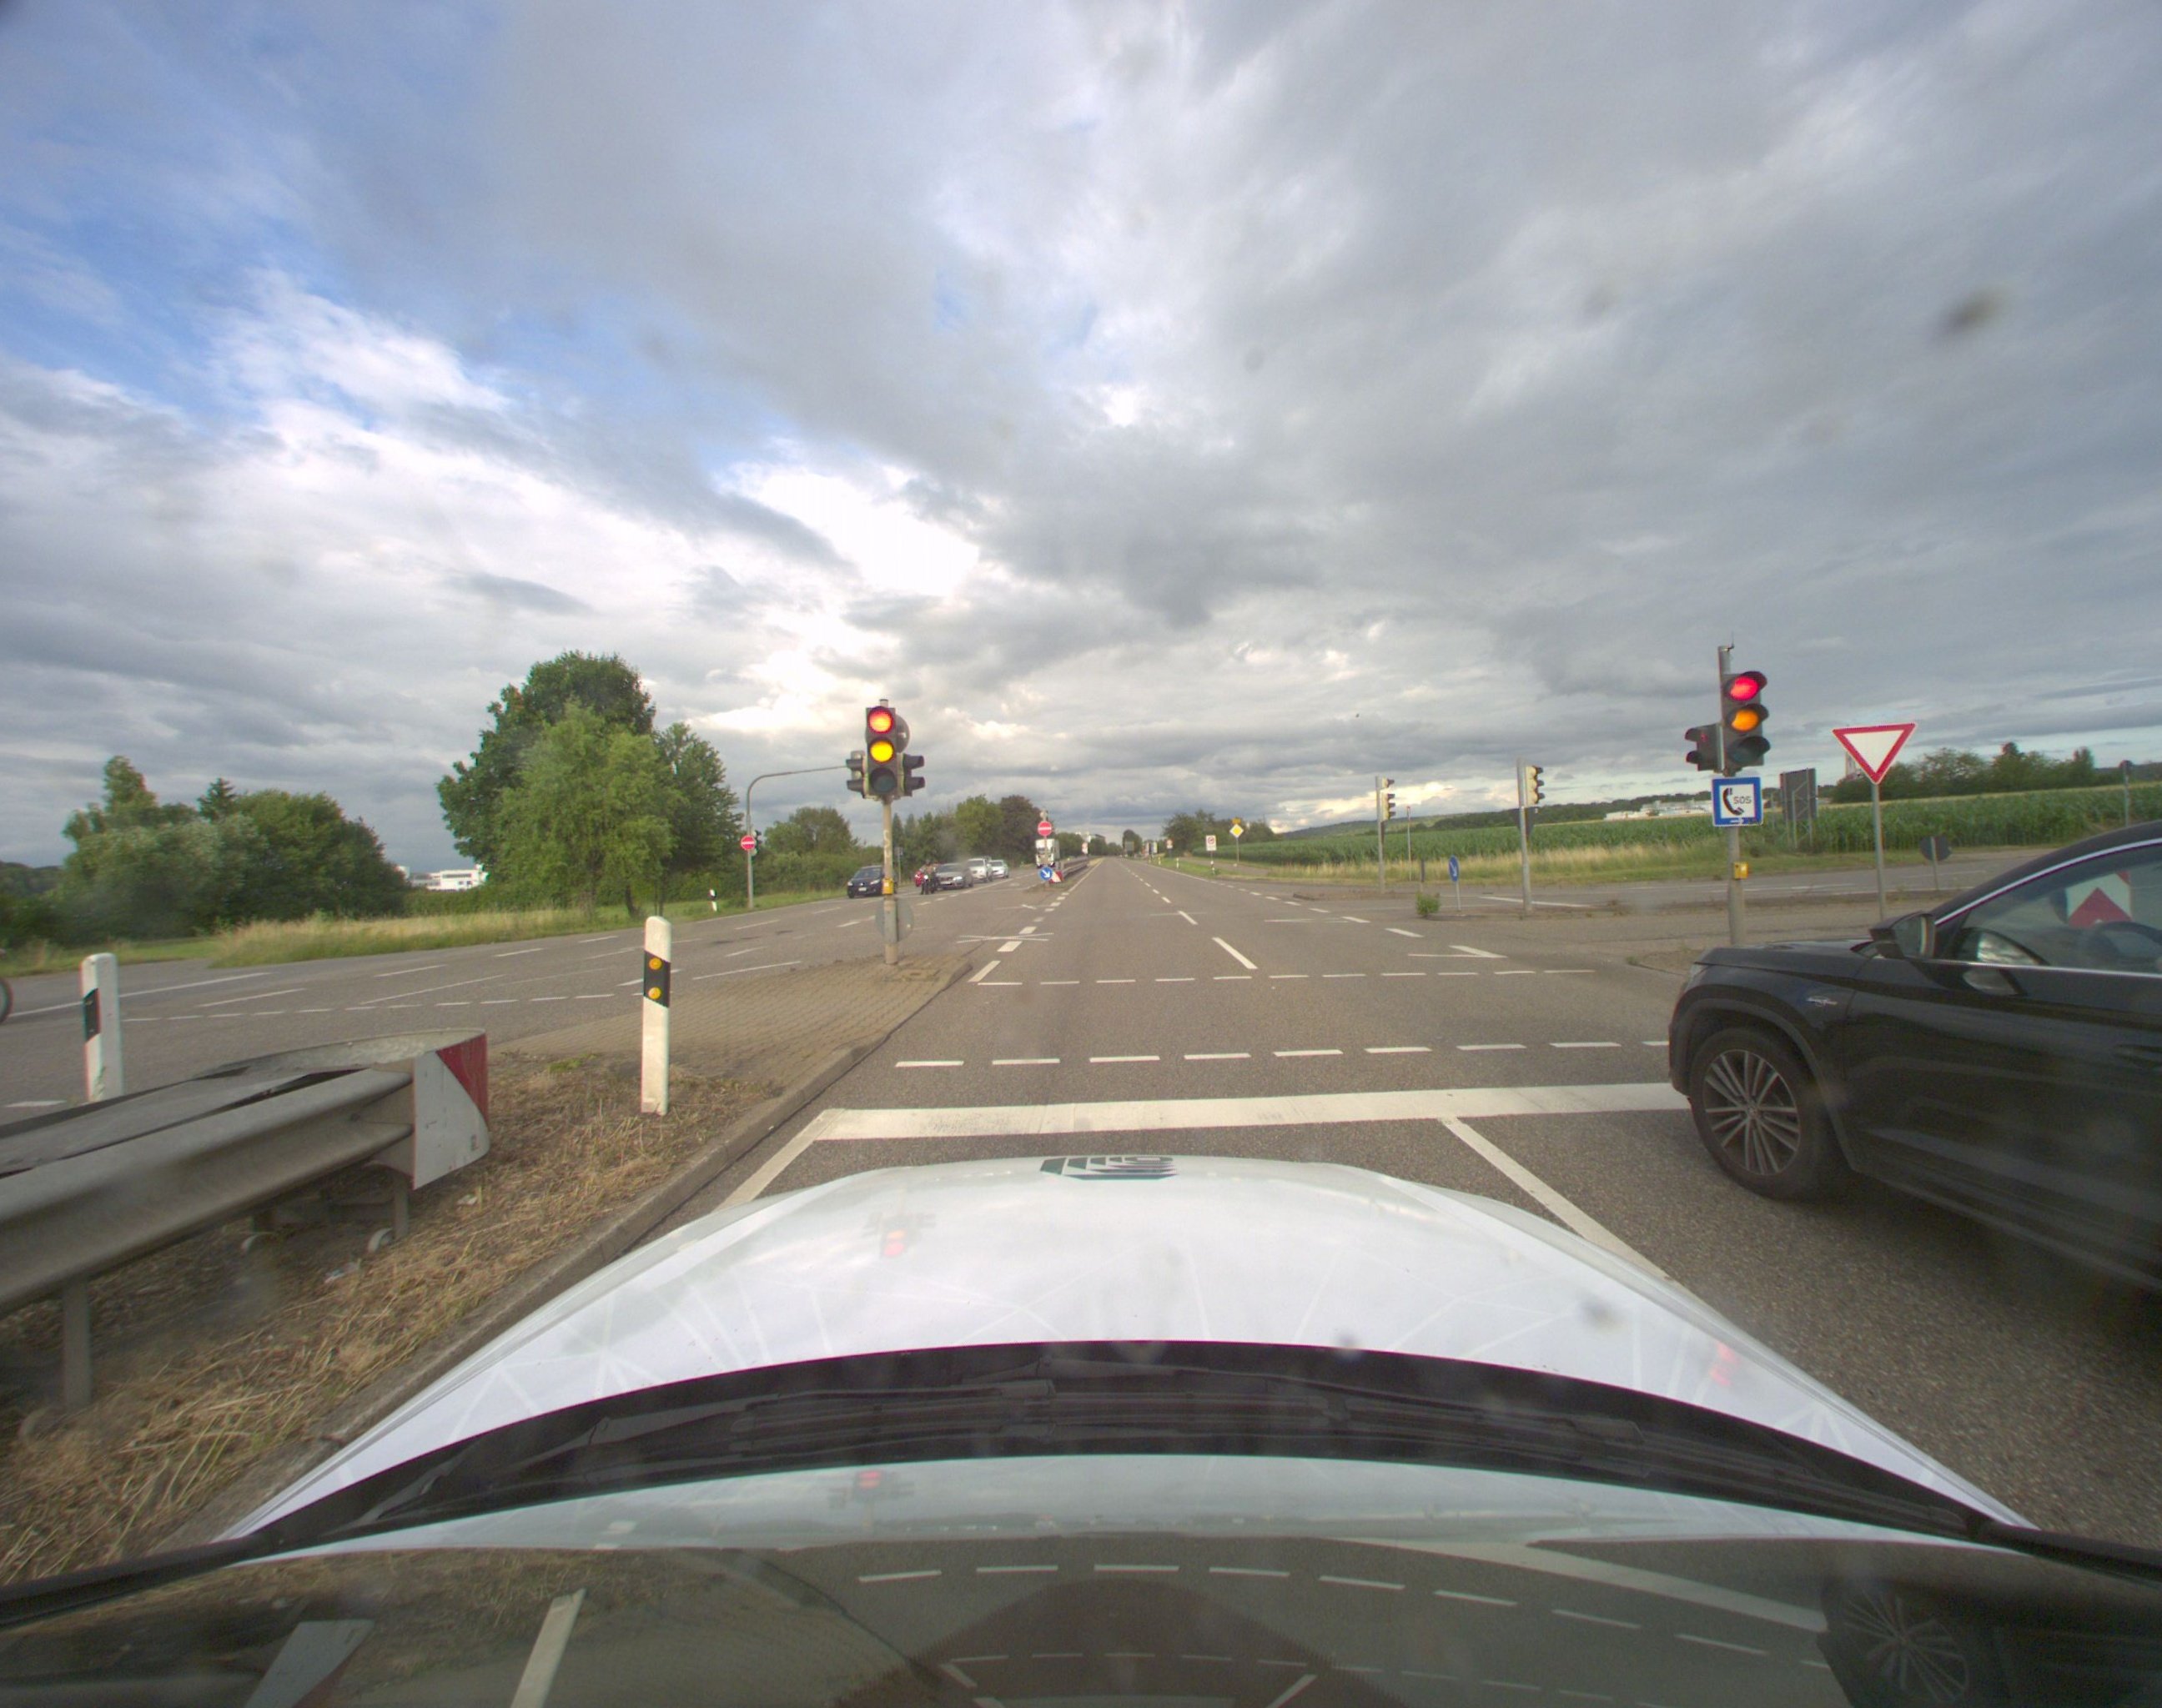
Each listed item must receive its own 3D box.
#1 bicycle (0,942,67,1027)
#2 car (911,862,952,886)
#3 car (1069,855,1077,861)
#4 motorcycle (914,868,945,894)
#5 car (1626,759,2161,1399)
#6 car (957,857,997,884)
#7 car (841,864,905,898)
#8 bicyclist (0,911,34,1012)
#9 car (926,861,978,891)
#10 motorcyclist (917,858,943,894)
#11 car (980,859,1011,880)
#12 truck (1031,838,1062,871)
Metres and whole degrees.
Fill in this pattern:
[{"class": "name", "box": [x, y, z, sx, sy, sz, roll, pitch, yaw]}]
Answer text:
[{"class": "bicycle", "box": [-16.499, 1.949, 12.000, 2.307, 1.137, 0.817, -3, 0, 7]}, {"class": "car", "box": [-10.409, 1.382, 56.912, 1.900, 1.465, 4.186, -3, 0, 2]}, {"class": "car", "box": [-2.137, 1.076, 210.718, 1.782, 1.386, 4.162, -3, 0, 2]}, {"class": "motorcycle", "box": [-7.419, 1.309, 40.038, 0.913, 1.203, 2.480, -3, -1, 2]}, {"class": "car", "box": [3.700, 0.575, 1.974, 1.838, 1.650, 4.482, 0, 0, 1]}, {"class": "car", "box": [-6.972, 1.095, 54.854, 1.900, 1.610, 4.406, -3, 0, 2]}, {"class": "car", "box": [-10.877, 1.388, 42.990, 1.900, 1.535, 4.940, -3, 0, 2]}, {"class": "bicyclist", "box": [-16.546, 1.627, 12.002, 1.216, 1.451, 0.817, -3, 0, 7]}, {"class": "car", "box": [-7.146, 1.190, 45.589, 1.900, 1.428, 5.154, -3, 0, 2]}, {"class": "motorcyclist", "box": [-7.424, 1.058, 40.039, 0.913, 1.709, 1.276, -3, -1, 2]}, {"class": "car", "box": [-6.652, 1.199, 63.431, 1.782, 1.444, 4.162, -3, 0, 2]}, {"class": "truck", "box": [-4.738, 0.101, 113.196, 3.462, 4.150, 6.052, -4, 0, 2]}]
